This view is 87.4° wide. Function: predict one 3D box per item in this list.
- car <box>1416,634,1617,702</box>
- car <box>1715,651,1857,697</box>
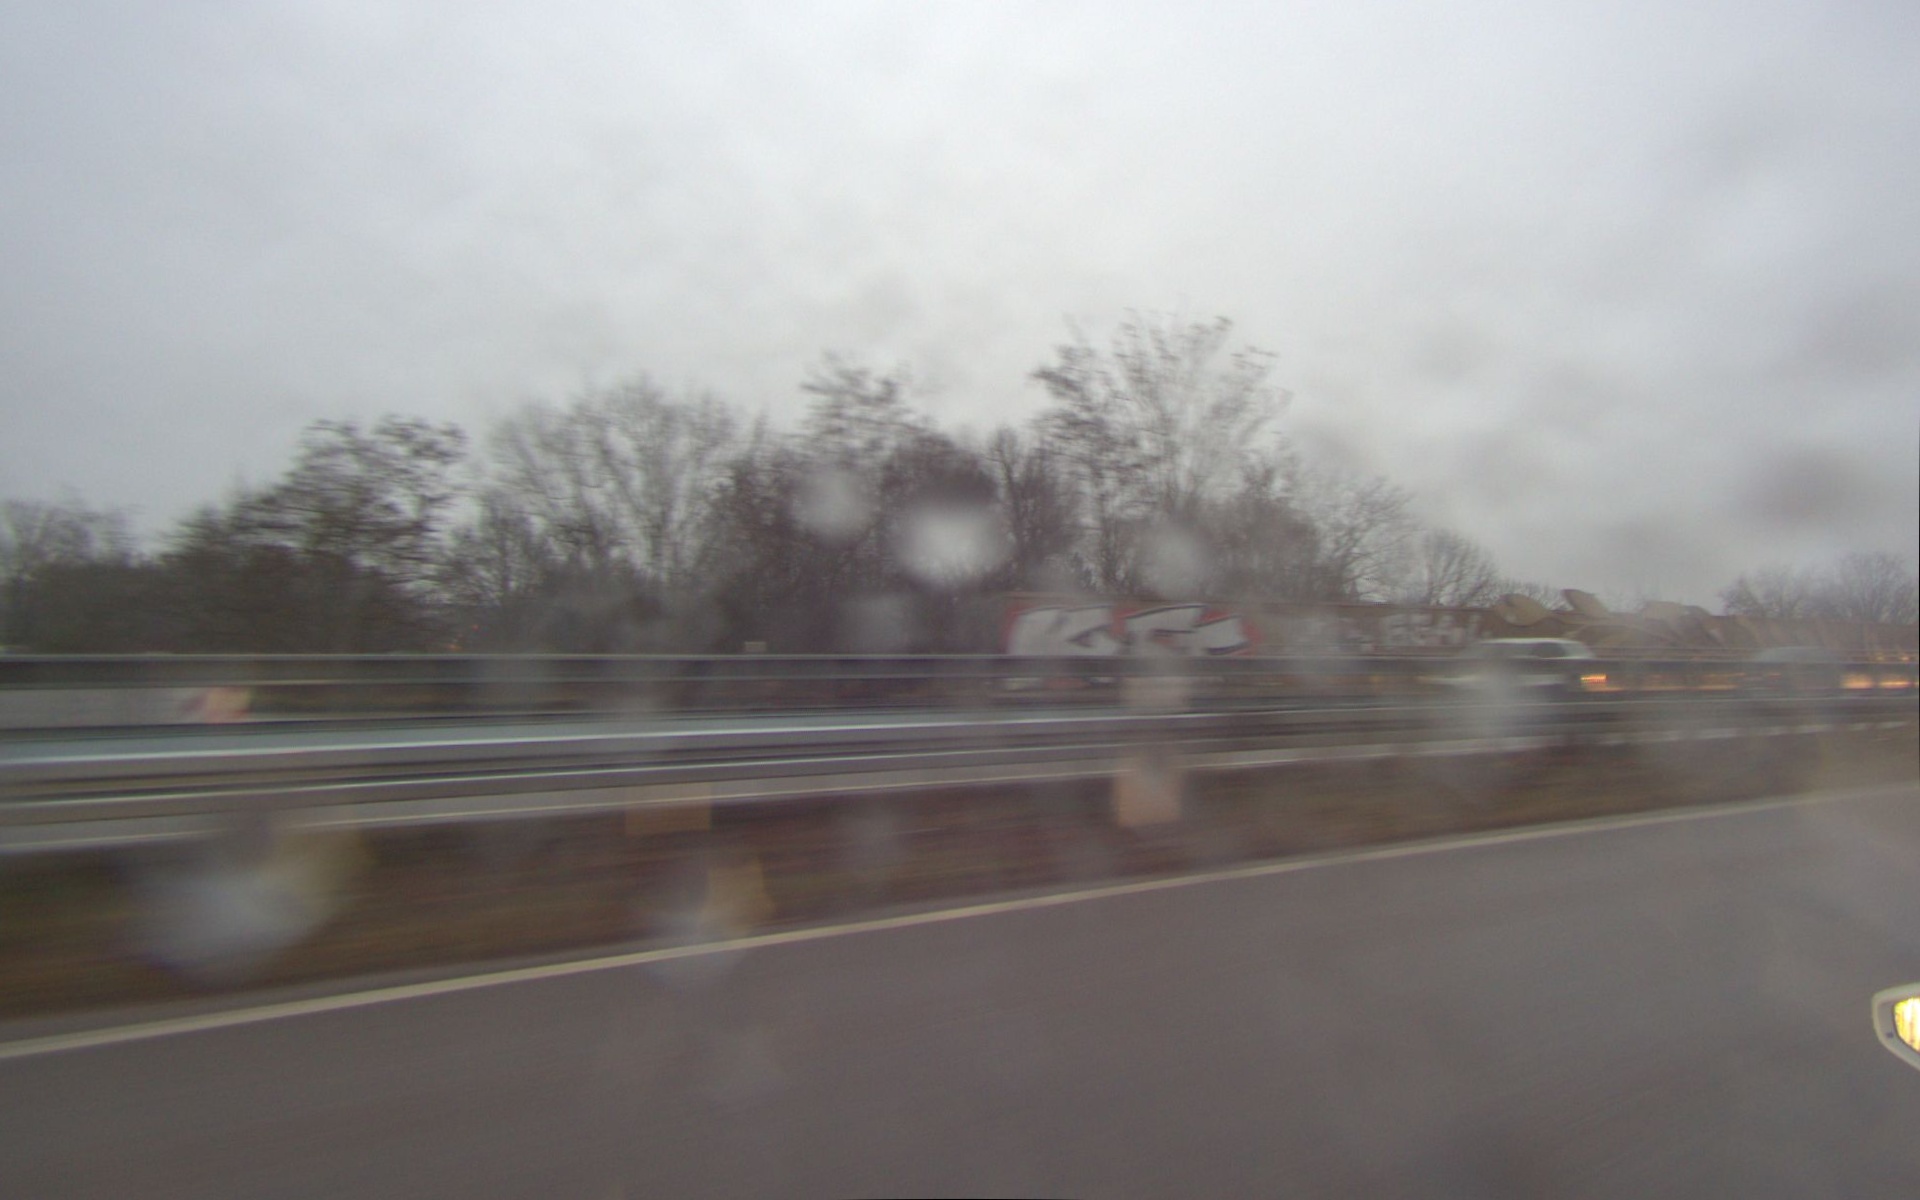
[{"bbox_3d":[14.331,1.724,25.889,4.606,1.583,1.839,1,0,-17],"label":"car"},{"bbox_3d":[27.561,2.442,33.503,4.244,1.422,1.784,1,-1,-20],"label":"car"}]
